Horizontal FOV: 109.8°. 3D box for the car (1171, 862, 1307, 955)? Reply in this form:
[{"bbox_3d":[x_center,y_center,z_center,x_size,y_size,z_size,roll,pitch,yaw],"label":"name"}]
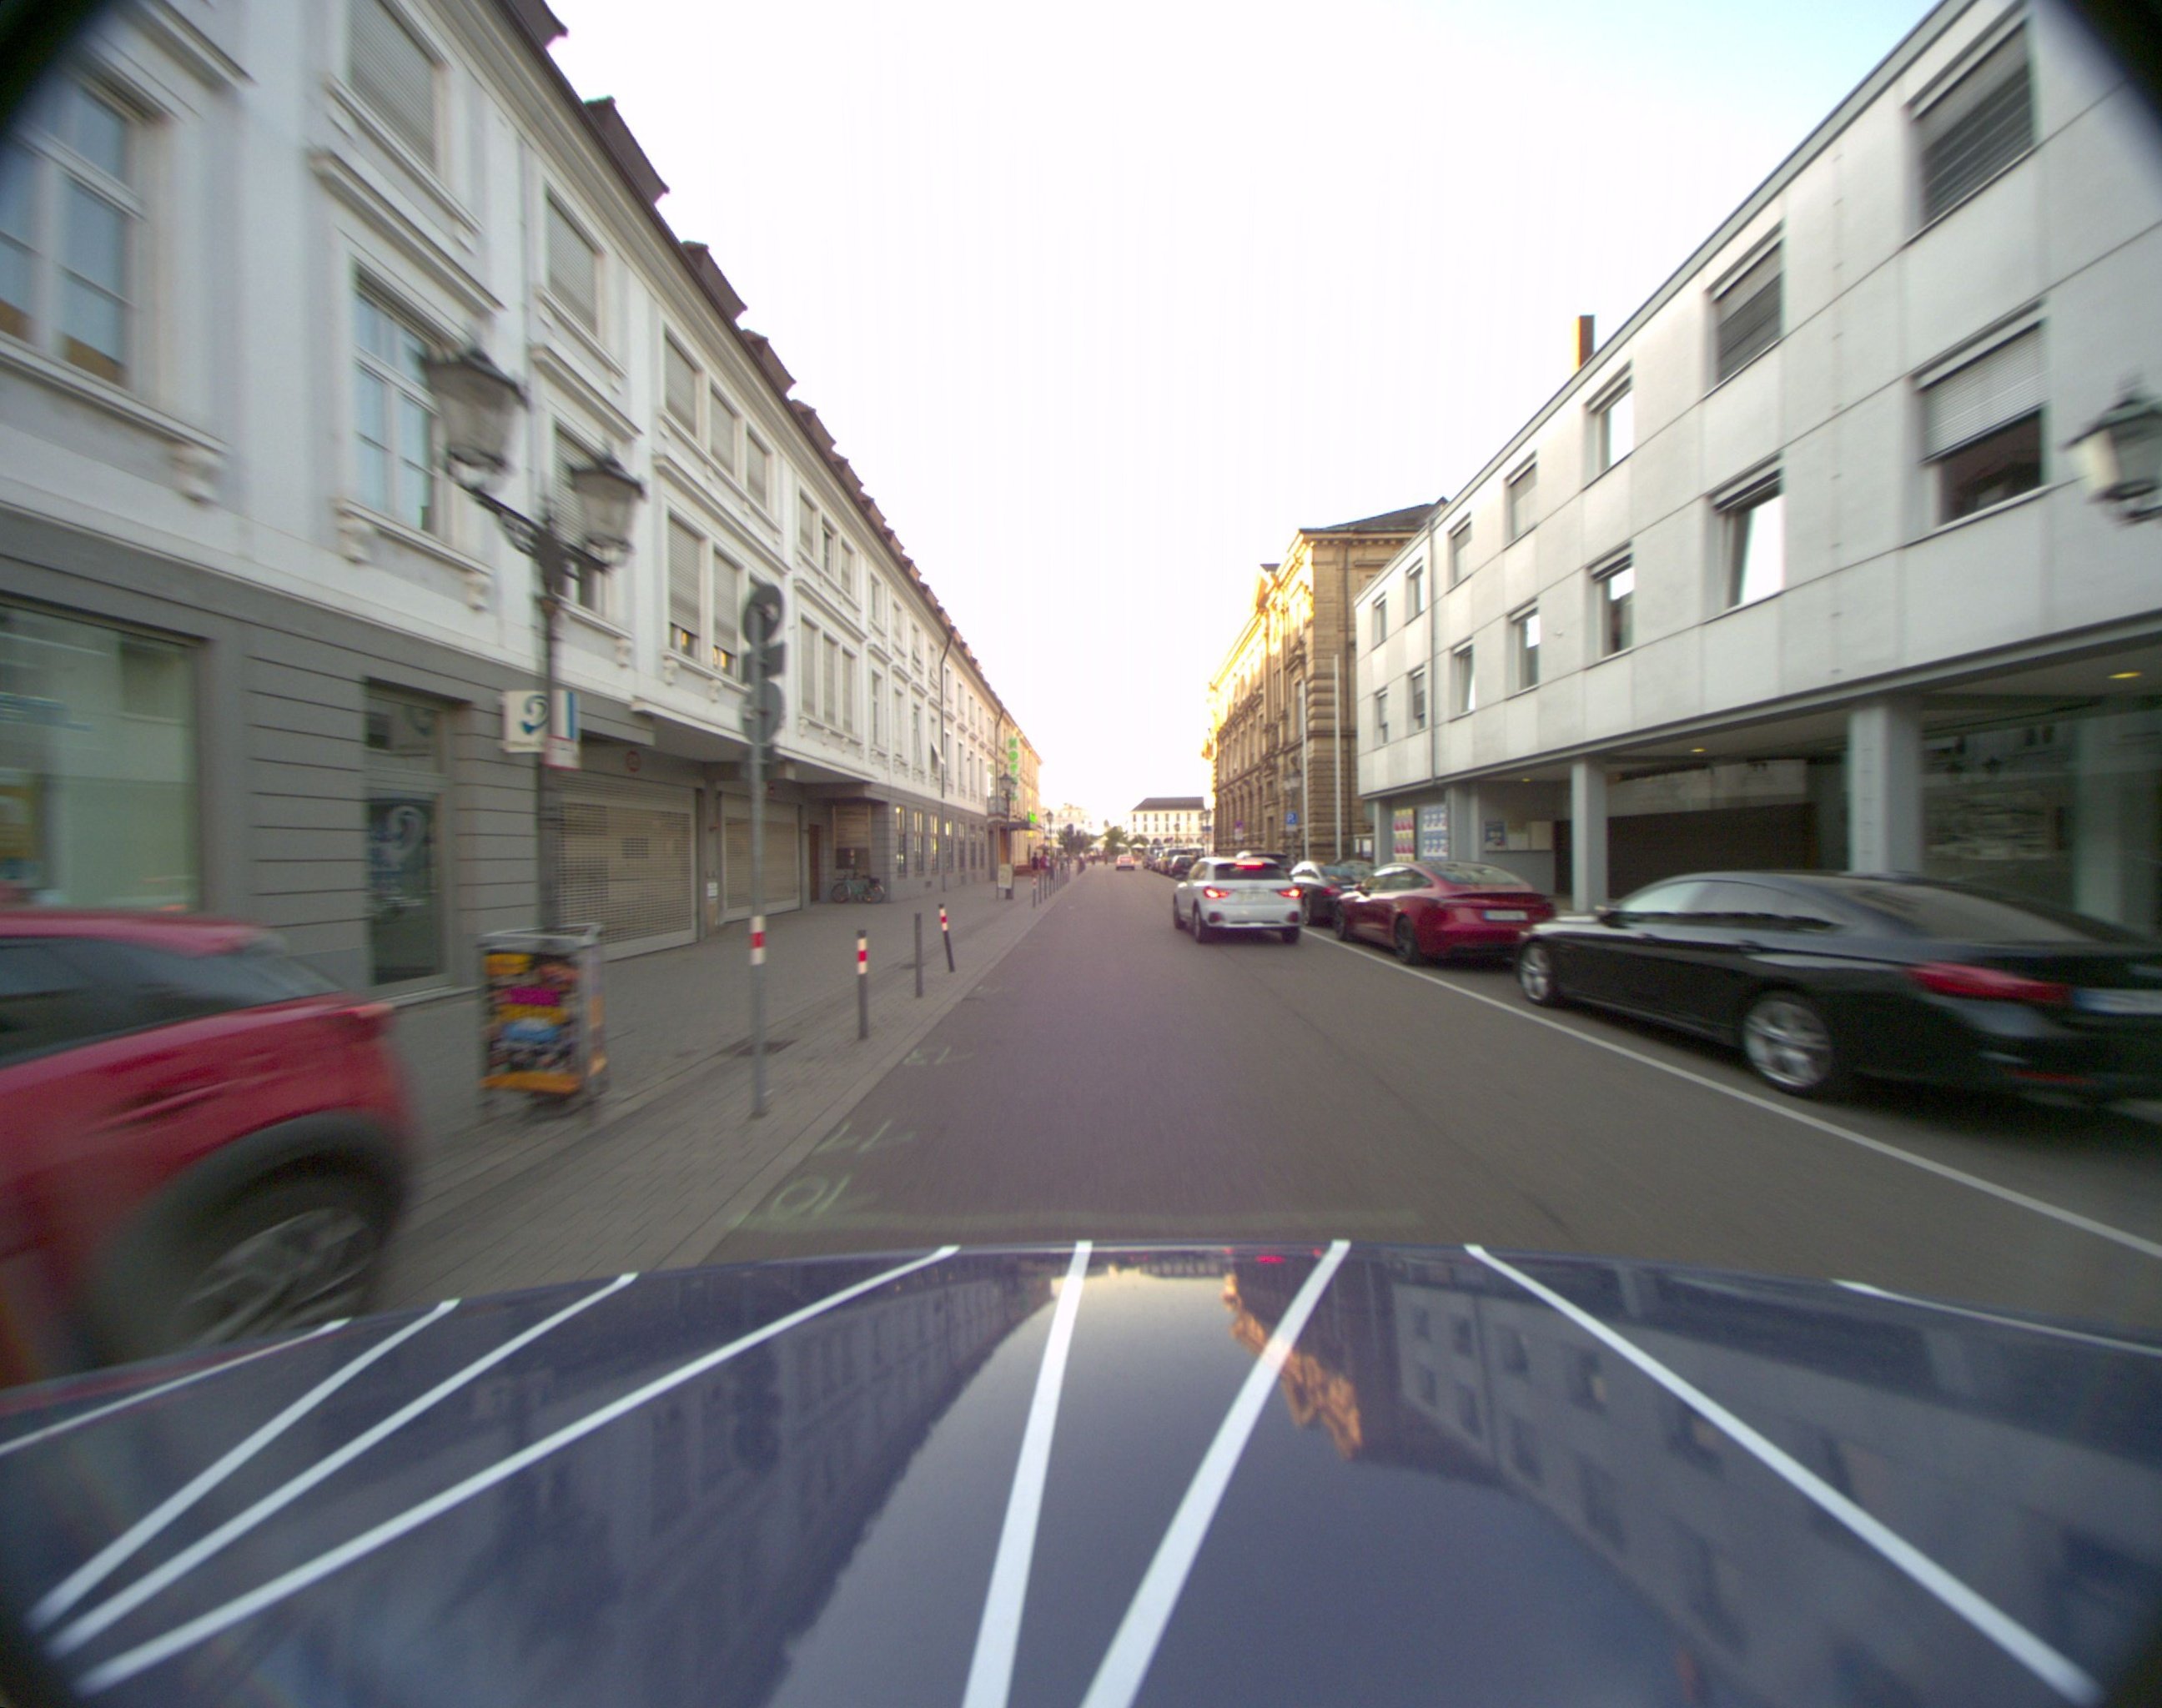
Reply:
[{"bbox_3d":[2.770,0.888,14.174,1.768,1.414,4.000,0,0,1],"label":"car"}]

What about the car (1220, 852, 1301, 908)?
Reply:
[{"bbox_3d":[5.658,0.758,24.448,1.789,1.605,4.166,-1,0,3],"label":"car"}]

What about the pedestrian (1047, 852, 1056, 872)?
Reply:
[{"bbox_3d":[-2.402,0.673,61.166,0.631,1.591,0.615,-1,1,3],"label":"pedestrian"}]

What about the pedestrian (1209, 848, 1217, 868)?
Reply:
[{"bbox_3d":[11.773,0.339,67.632,0.608,1.720,0.703,-1,1,3],"label":"pedestrian"}]

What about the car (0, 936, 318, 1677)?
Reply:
[{"bbox_3d":[-3.256,1.023,0.457,1.763,1.514,3.677,-1,0,3],"label":"car"}]

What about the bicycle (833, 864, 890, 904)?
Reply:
[{"bbox_3d":[-7.039,0.954,24.402,1.661,1.245,0.439,-1,1,-1],"label":"bicycle"}]

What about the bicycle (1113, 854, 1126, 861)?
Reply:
[{"bbox_3d":[5.931,0.533,117.168,1.683,1.115,0.846,-1,1,36],"label":"bicycle"}]

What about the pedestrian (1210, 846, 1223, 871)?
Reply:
[{"bbox_3d":[9.709,0.317,54.327,0.715,1.720,0.896,-4,1,3],"label":"pedestrian"}]

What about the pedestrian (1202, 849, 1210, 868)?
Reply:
[{"bbox_3d":[11.073,0.412,67.478,0.583,1.720,0.831,-1,1,3],"label":"pedestrian"}]

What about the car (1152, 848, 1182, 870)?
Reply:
[{"bbox_3d":[6.938,0.370,62.053,1.998,1.742,4.990,-1,1,1],"label":"car"}]

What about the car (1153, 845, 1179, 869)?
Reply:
[{"bbox_3d":[7.511,0.252,67.640,1.998,2.075,5.207,-1,1,2],"label":"car"}]

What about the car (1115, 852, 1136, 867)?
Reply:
[{"bbox_3d":[4.234,0.530,72.381,1.789,1.400,4.088,-1,0,1],"label":"car"}]

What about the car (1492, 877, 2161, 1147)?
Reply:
[{"bbox_3d":[5.408,0.941,6.248,1.998,1.346,4.000,1,0,2],"label":"car"}]

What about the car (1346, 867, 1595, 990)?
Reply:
[{"bbox_3d":[5.470,0.948,11.339,1.789,1.400,4.089,-1,0,3],"label":"car"}]

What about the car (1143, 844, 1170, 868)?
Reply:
[{"bbox_3d":[7.386,0.183,74.566,1.999,2.158,5.206,-1,0,0],"label":"car"}]

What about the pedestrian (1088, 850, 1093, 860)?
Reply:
[{"bbox_3d":[1.360,0.145,110.360,0.683,1.557,0.653,-1,1,0],"label":"pedestrian"}]

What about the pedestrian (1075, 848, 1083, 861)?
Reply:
[{"bbox_3d":[-0.275,0.111,101.551,0.607,1.720,0.719,0,1,45],"label":"pedestrian"}]

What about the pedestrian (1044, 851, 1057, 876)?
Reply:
[{"bbox_3d":[-2.166,0.651,53.831,0.749,1.720,0.881,-1,1,5],"label":"pedestrian"}]

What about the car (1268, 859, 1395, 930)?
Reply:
[{"bbox_3d":[5.652,0.856,17.668,1.789,1.400,4.089,-1,0,3],"label":"car"}]

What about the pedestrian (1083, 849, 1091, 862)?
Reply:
[{"bbox_3d":[0.787,0.139,101.671,0.667,1.720,0.767,0,1,45],"label":"pedestrian"}]

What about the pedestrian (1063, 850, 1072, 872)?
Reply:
[{"bbox_3d":[-1.086,0.558,61.472,0.608,1.720,0.558,-1,1,3],"label":"pedestrian"}]

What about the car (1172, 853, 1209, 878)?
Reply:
[{"bbox_3d":[7.051,0.716,49.220,1.998,1.486,4.165,-1,1,2],"label":"car"}]

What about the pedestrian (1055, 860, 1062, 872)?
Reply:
[{"bbox_3d":[-1.812,0.979,61.078,0.461,0.974,0.558,-1,1,3],"label":"pedestrian"}]

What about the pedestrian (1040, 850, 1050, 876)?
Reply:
[{"bbox_3d":[-2.479,0.621,52.798,0.622,1.779,0.913,-1,1,0],"label":"pedestrian"}]

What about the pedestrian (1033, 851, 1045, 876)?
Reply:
[{"bbox_3d":[-2.988,0.650,53.730,0.715,1.720,0.873,-1,1,4],"label":"pedestrian"}]

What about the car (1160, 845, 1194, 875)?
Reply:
[{"bbox_3d":[6.995,0.391,55.784,1.998,2.066,4.989,-1,1,1],"label":"car"}]
